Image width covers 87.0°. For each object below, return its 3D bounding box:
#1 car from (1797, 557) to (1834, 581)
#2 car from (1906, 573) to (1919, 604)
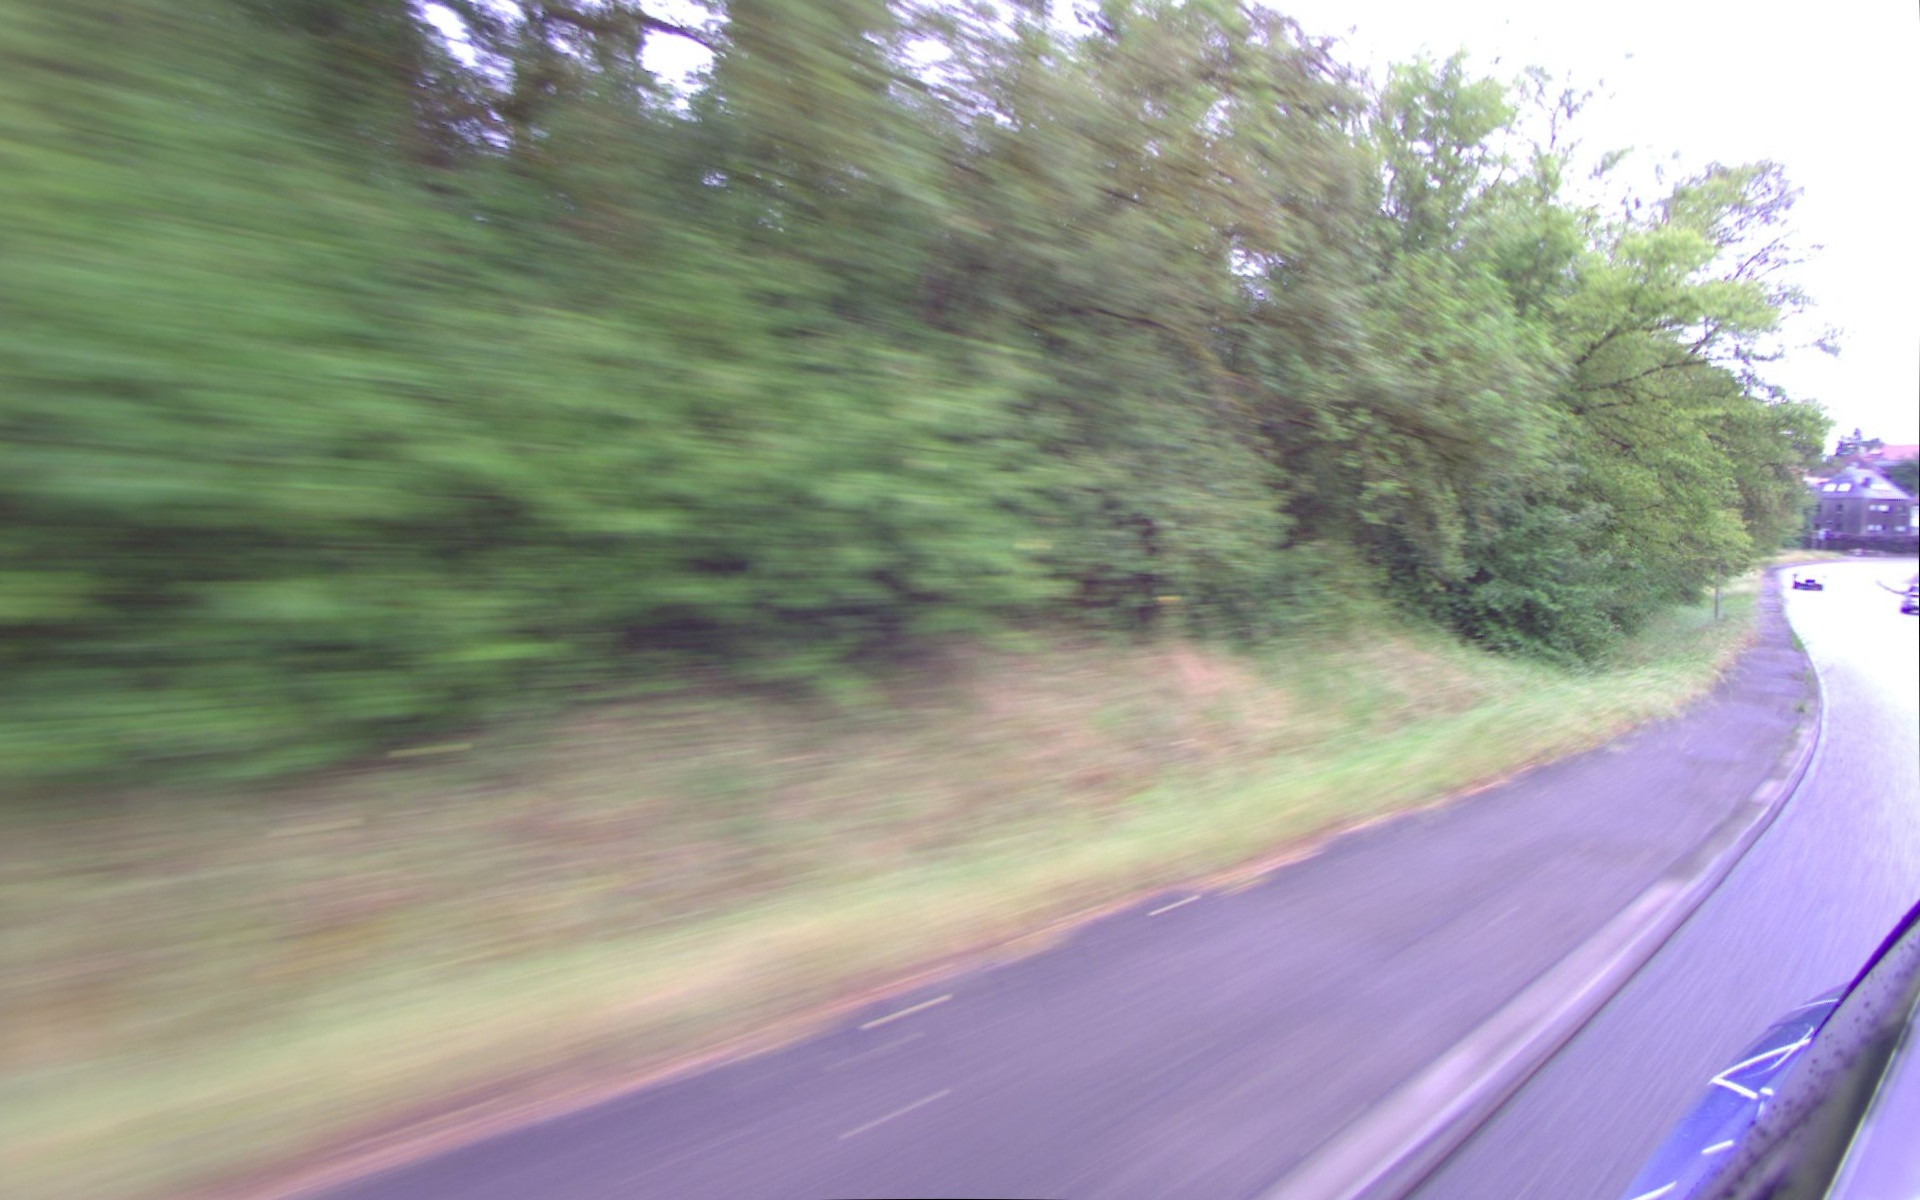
[{"bbox_3d":[64.870,-2.382,76.718,1.993,1.737,3.940,3,5,42],"label":"car"},{"bbox_3d":[46.963,-0.514,48.596,1.777,1.448,4.414,4,3,38],"label":"car"}]
